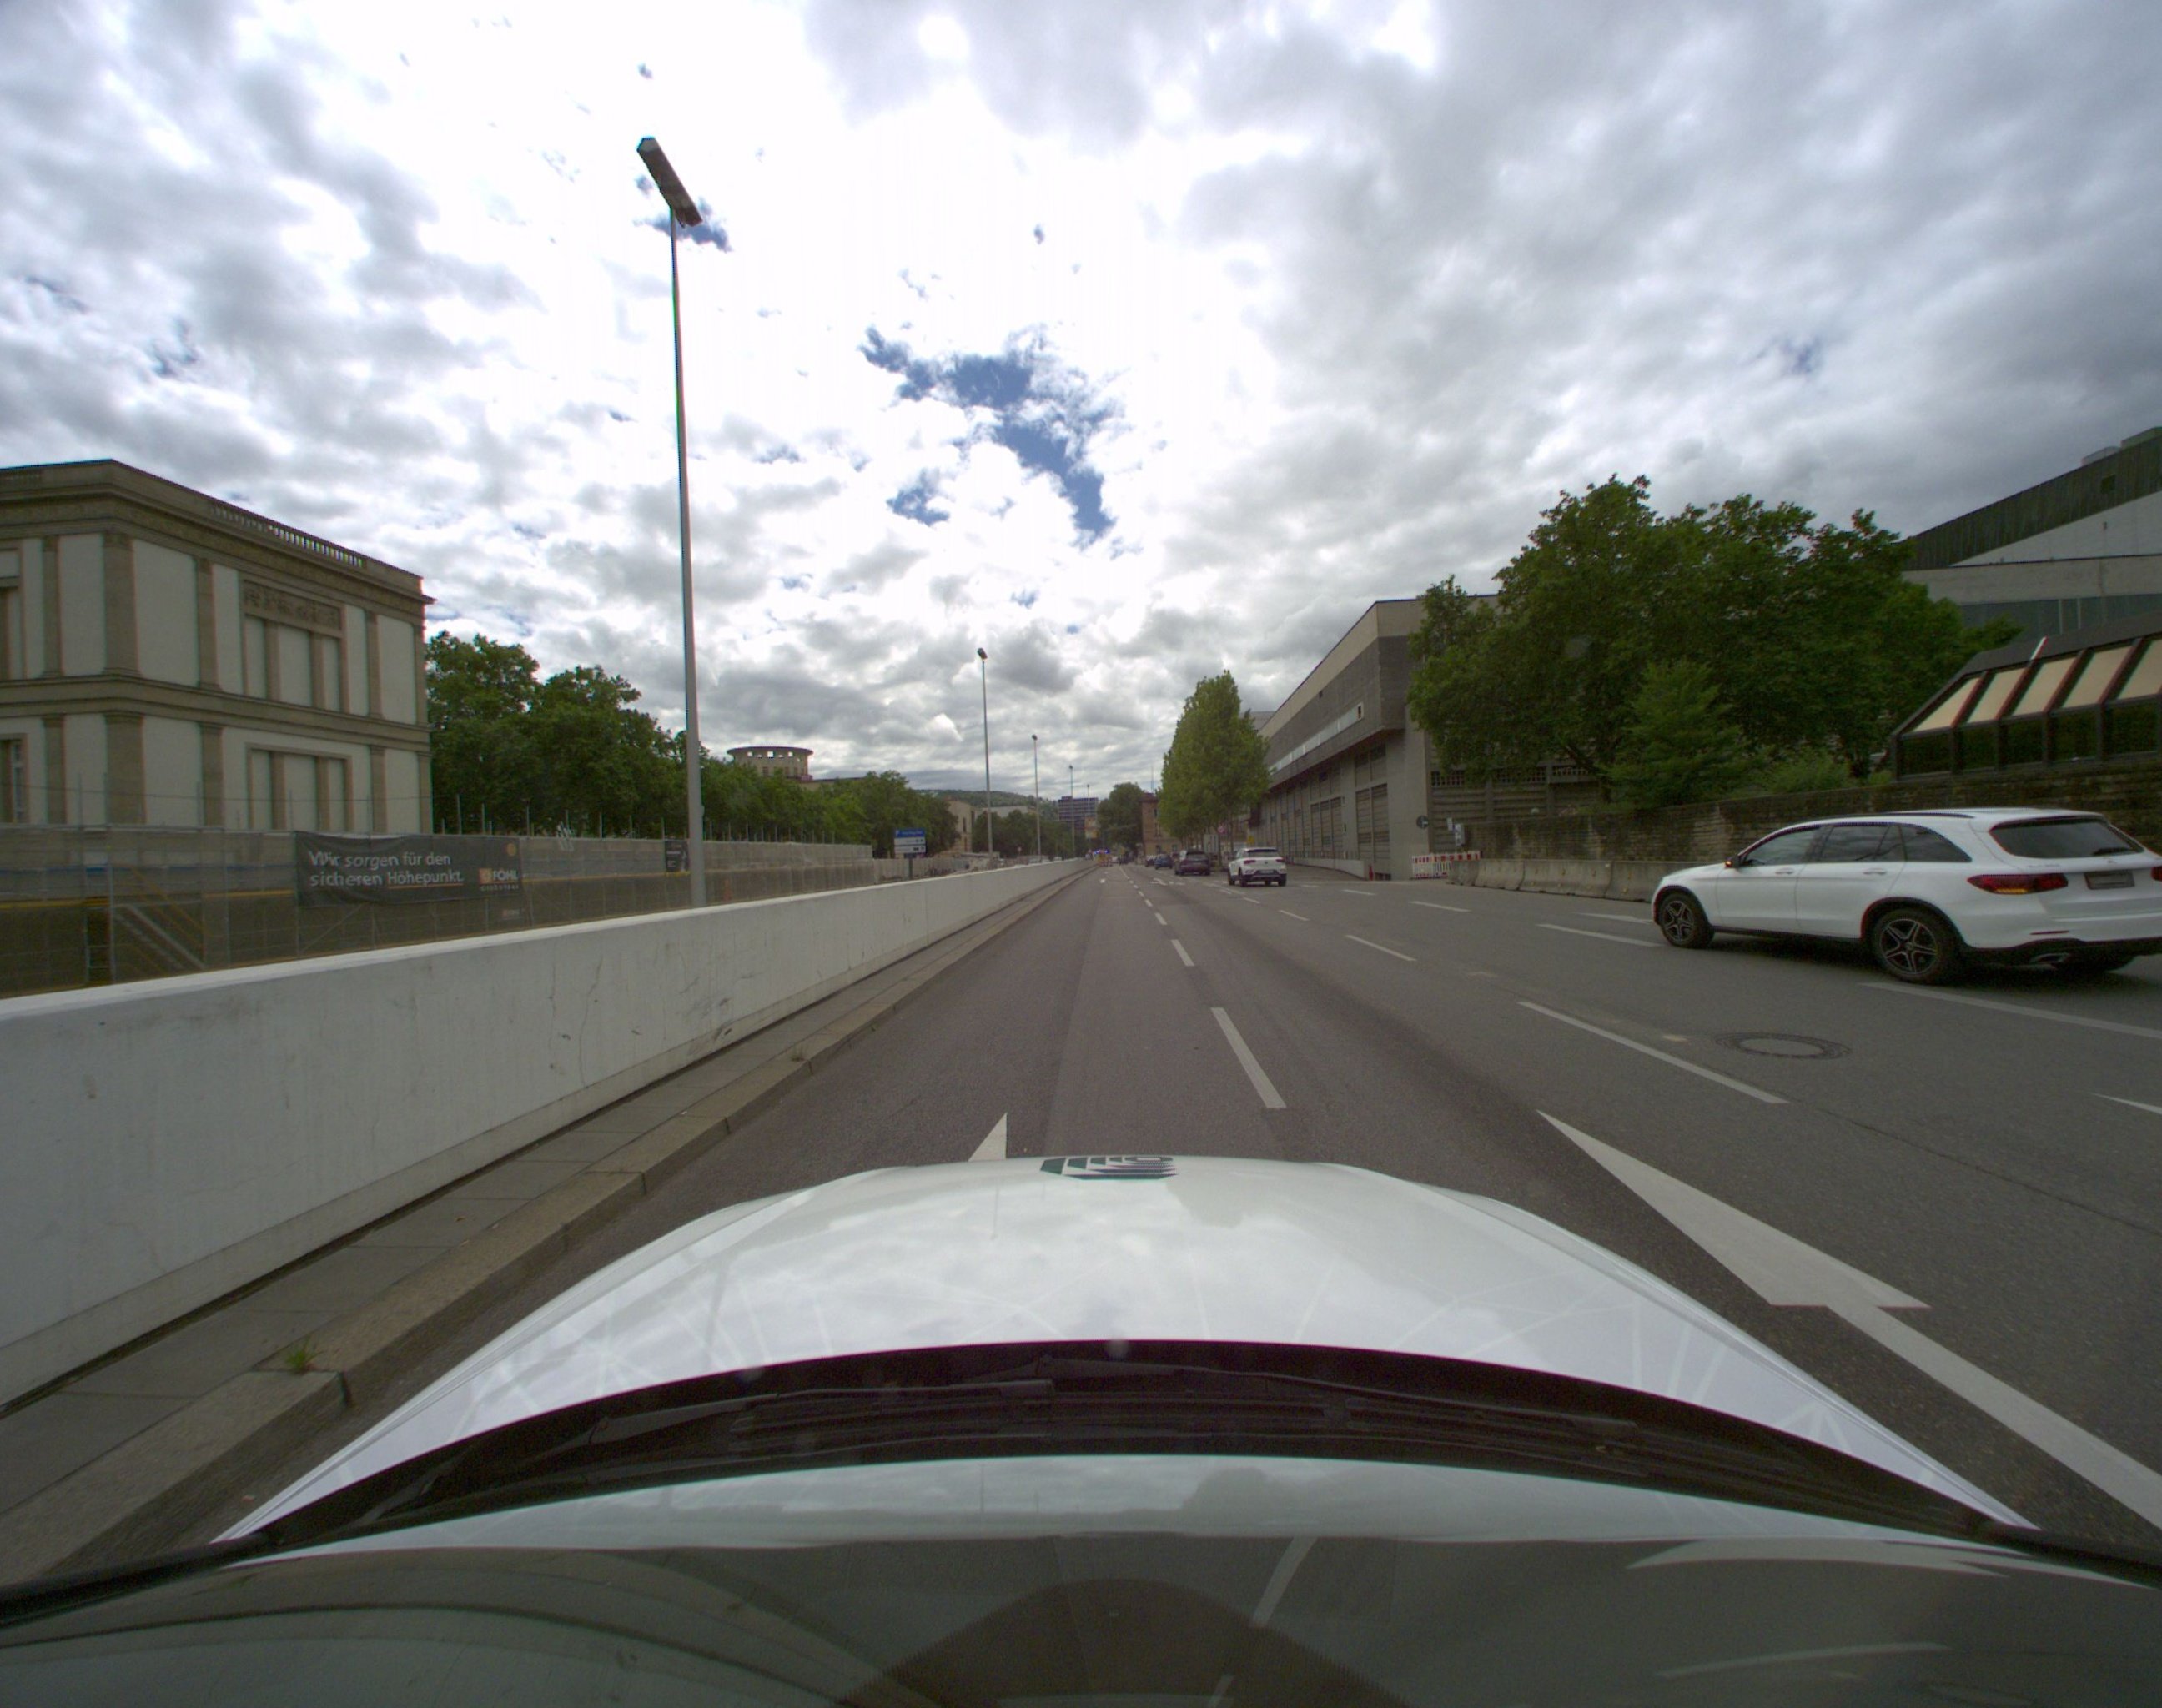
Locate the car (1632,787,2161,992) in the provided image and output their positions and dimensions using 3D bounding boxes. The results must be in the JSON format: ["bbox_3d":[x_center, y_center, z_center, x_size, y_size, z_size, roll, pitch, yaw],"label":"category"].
[{"bbox_3d":[8.670,0.293,9.108,1.806,1.642,4.549,-3,0,-1],"label":"car"}]

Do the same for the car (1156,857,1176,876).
[{"bbox_3d":[8.487,1.237,80.991,1.813,1.740,4.489,-3,0,7],"label":"car"}]

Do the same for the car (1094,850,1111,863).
[{"bbox_3d":[4.258,0.525,158.833,2.568,2.374,5.537,-3,0,7],"label":"car"}]

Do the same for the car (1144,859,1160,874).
[{"bbox_3d":[9.181,1.576,104.796,1.813,1.740,4.489,-3,0,7],"label":"car"}]

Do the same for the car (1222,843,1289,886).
[{"bbox_3d":[7.047,0.476,33.309,1.745,1.568,4.330,-3,-2,0],"label":"car"}]

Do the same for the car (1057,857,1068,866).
[{"bbox_3d":[-3.609,1.471,160.762,1.743,1.567,3.380,-5,-1,4],"label":"car"}]

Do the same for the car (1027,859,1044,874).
[{"bbox_3d":[-6.569,1.800,116.868,1.986,2.013,4.003,-2,1,2],"label":"car"}]

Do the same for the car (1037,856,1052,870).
[{"bbox_3d":[-5.942,1.404,132.192,1.986,2.013,4.003,-2,1,2],"label":"car"}]

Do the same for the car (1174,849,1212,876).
[{"bbox_3d":[7.361,0.533,53.859,1.817,1.567,4.480,-3,0,0],"label":"car"}]

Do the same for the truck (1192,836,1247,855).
[{"bbox_3d":[26.290,-1.648,154.576,9.987,3.051,2.571,-2,-2,3],"label":"truck"}]
